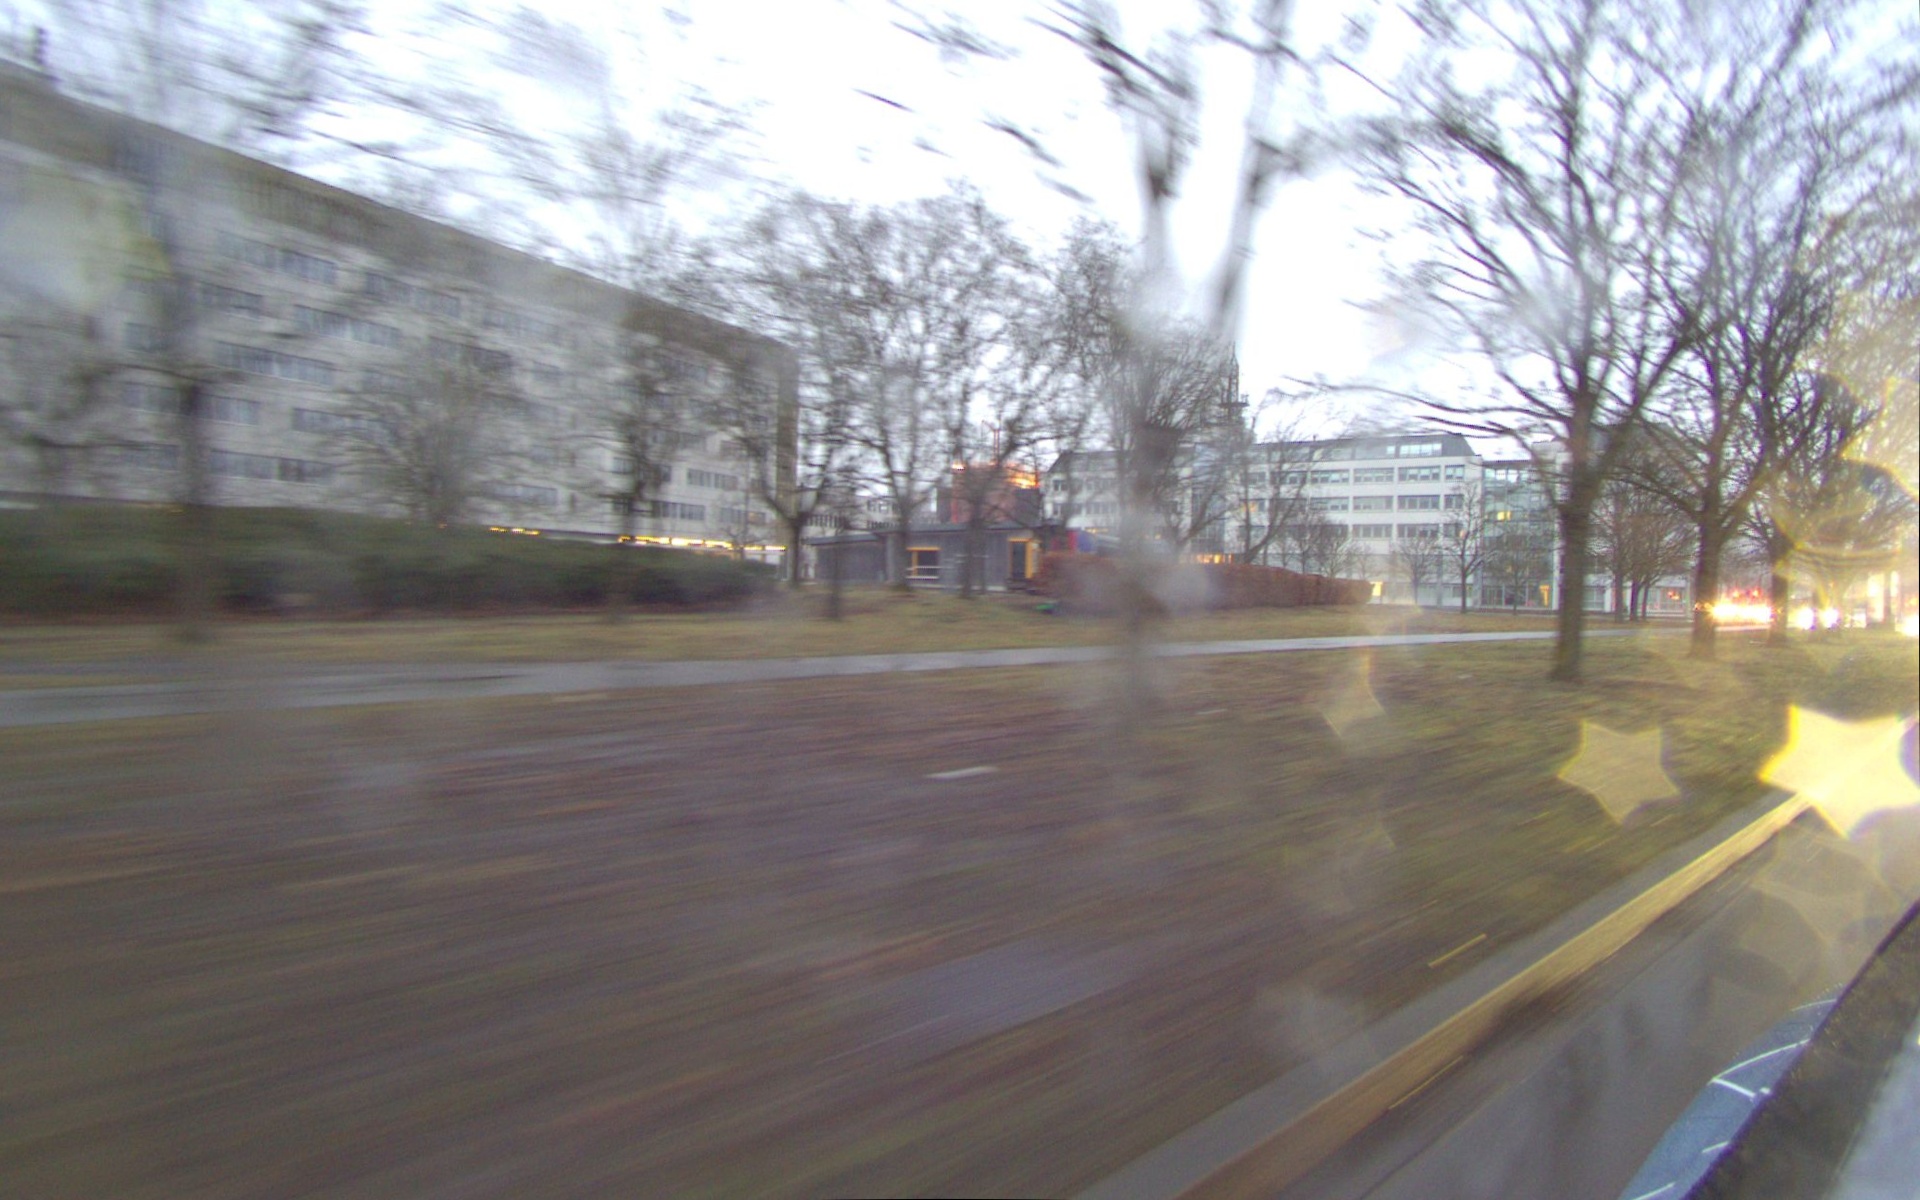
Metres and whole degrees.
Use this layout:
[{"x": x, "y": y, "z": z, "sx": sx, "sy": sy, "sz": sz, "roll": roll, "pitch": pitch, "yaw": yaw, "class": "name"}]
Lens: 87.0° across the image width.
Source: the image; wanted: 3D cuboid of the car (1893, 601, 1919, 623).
[{"x": 72.820, "y": 0.908, "z": 77.103, "sx": 1.938, "sy": 1.575, "sz": 4.164, "roll": 0, "pitch": 0, "yaw": 34, "class": "car"}]
